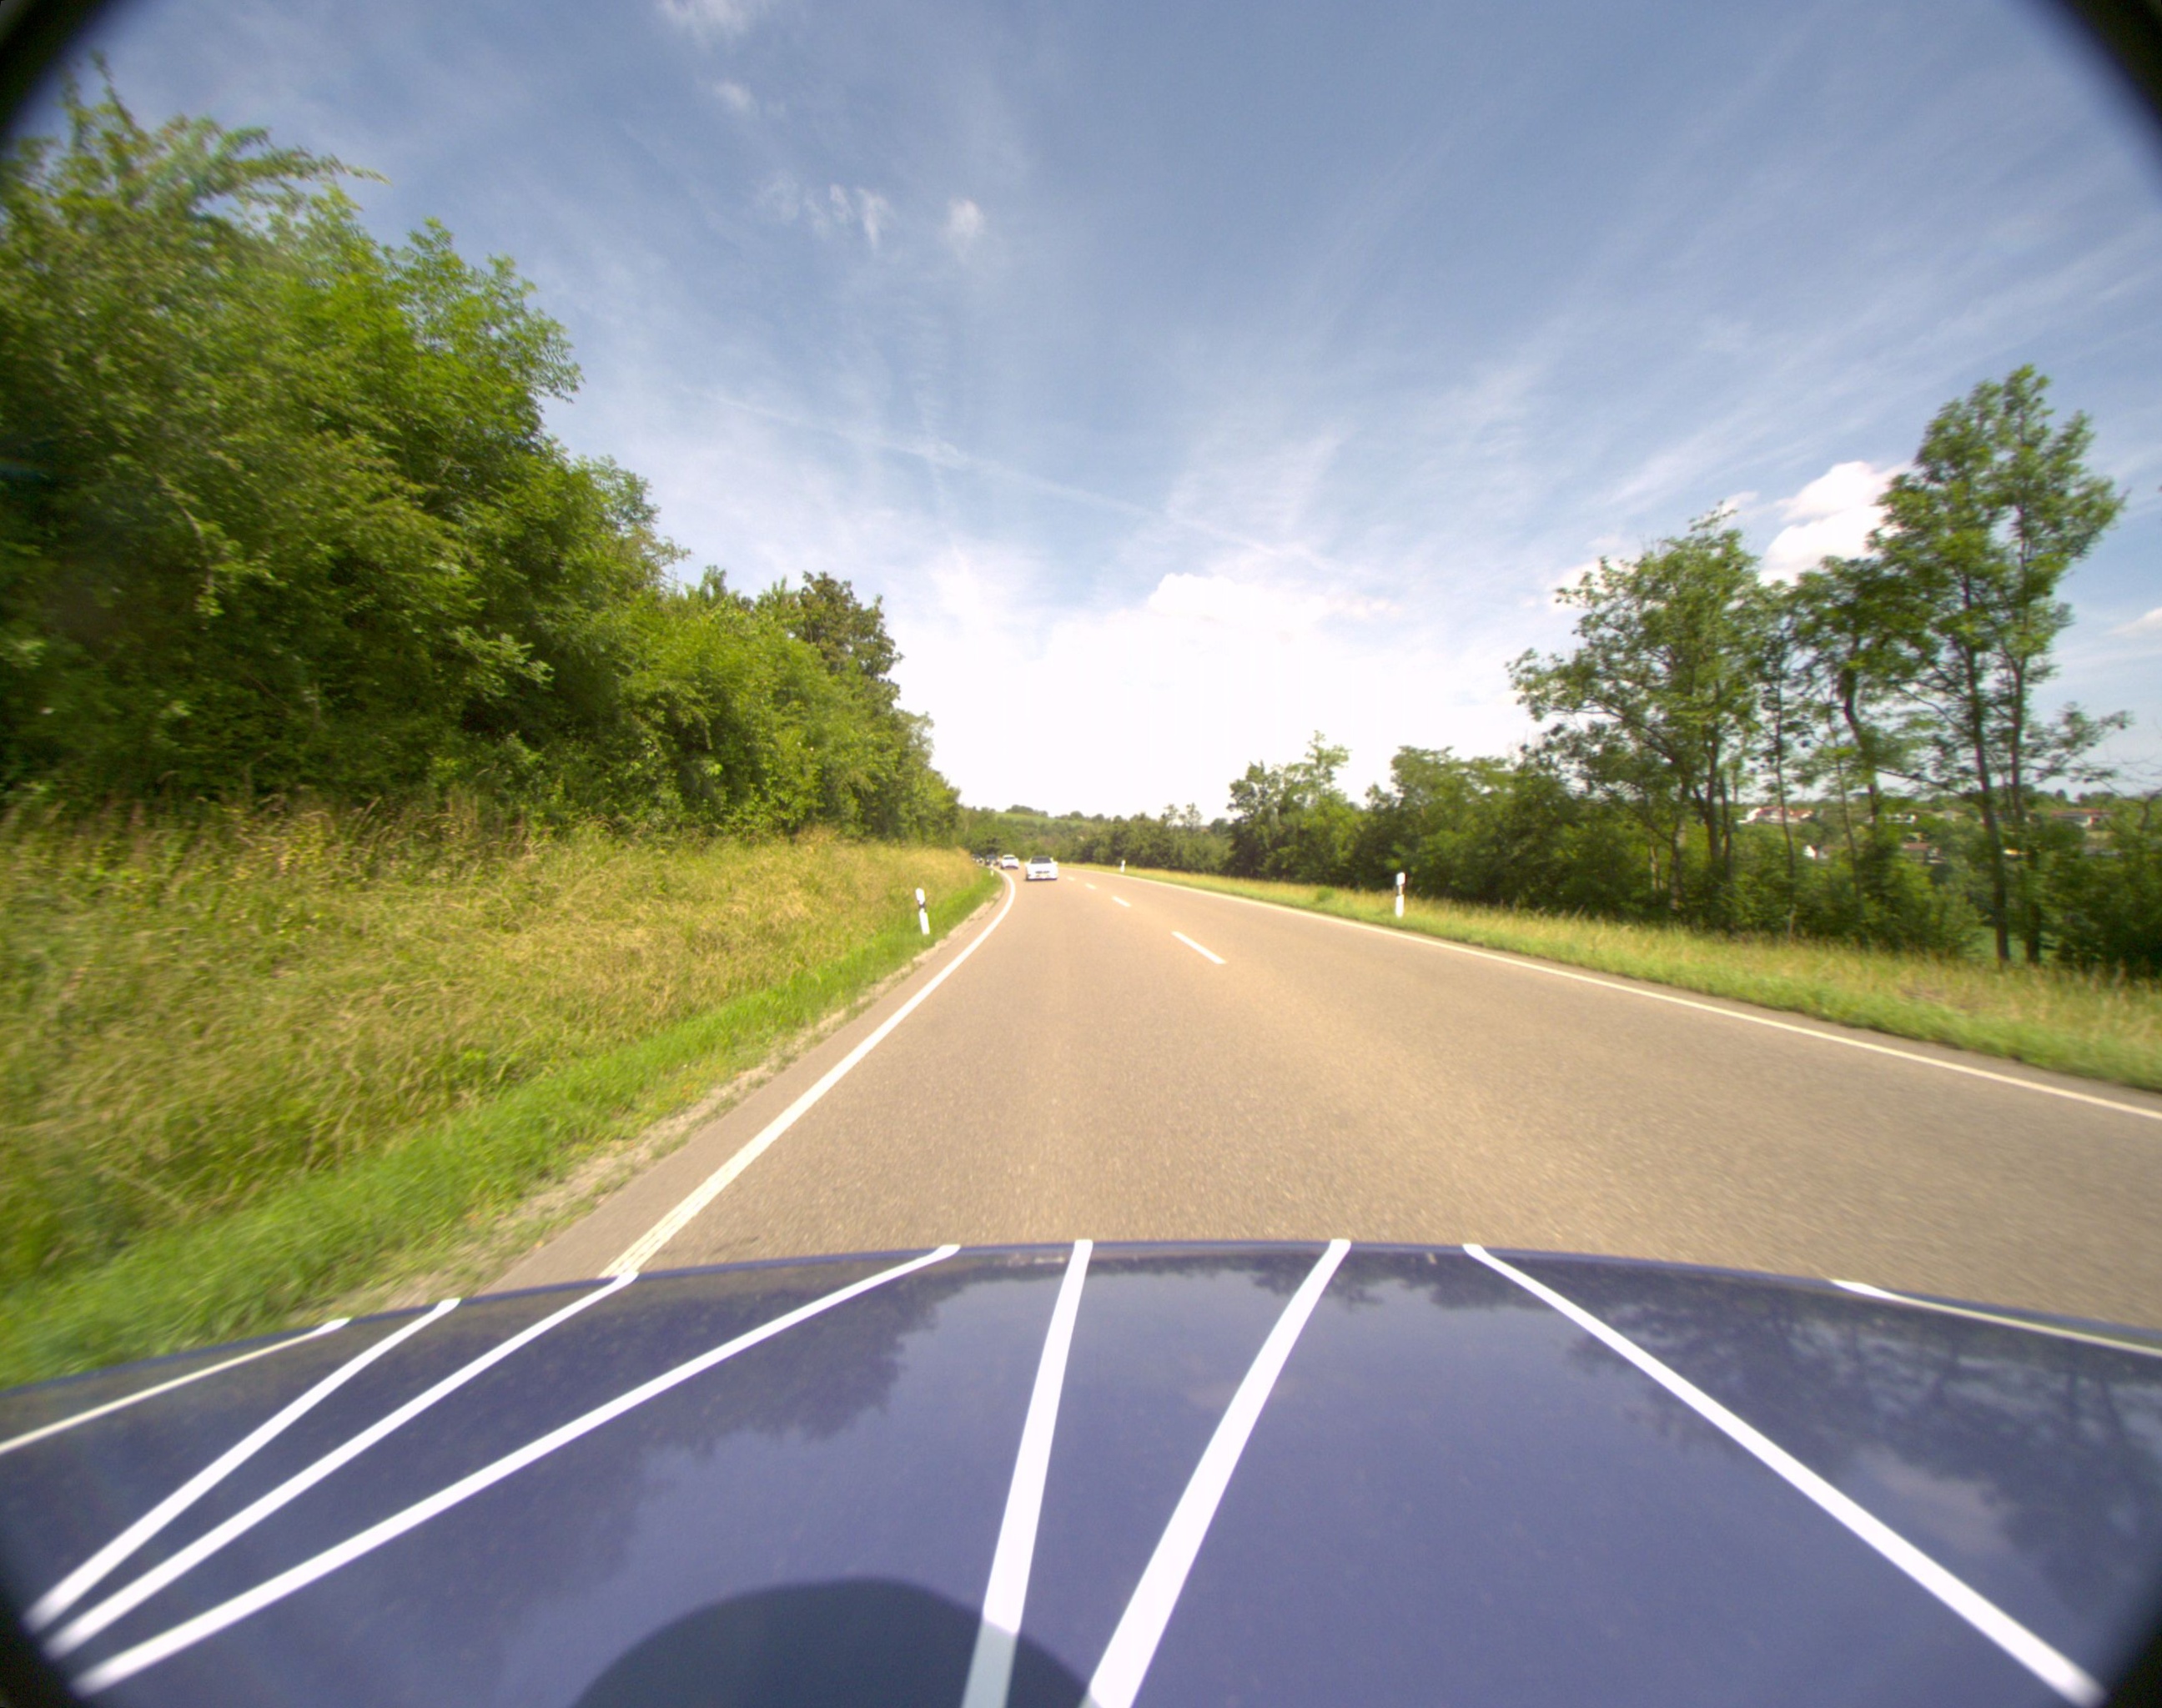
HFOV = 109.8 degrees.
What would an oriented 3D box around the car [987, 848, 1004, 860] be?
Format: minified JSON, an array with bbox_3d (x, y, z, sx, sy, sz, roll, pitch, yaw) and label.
[{"bbox_3d":[-12.235,0.012,108.376,1.827,1.510,3.994,3,0,-15],"label":"car"}]

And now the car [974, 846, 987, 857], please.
[{"bbox_3d":[-17.231,-0.445,130.291,1.668,1.641,3.994,3,0,-15],"label":"car"}]

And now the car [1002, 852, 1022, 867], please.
[{"bbox_3d":[-7.587,0.606,82.935,1.867,1.480,3.996,-3,1,-8],"label":"car"}]

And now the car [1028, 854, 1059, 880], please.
[{"bbox_3d":[-2.352,0.750,46.910,1.773,1.437,3.998,-2,0,-4],"label":"car"}]
